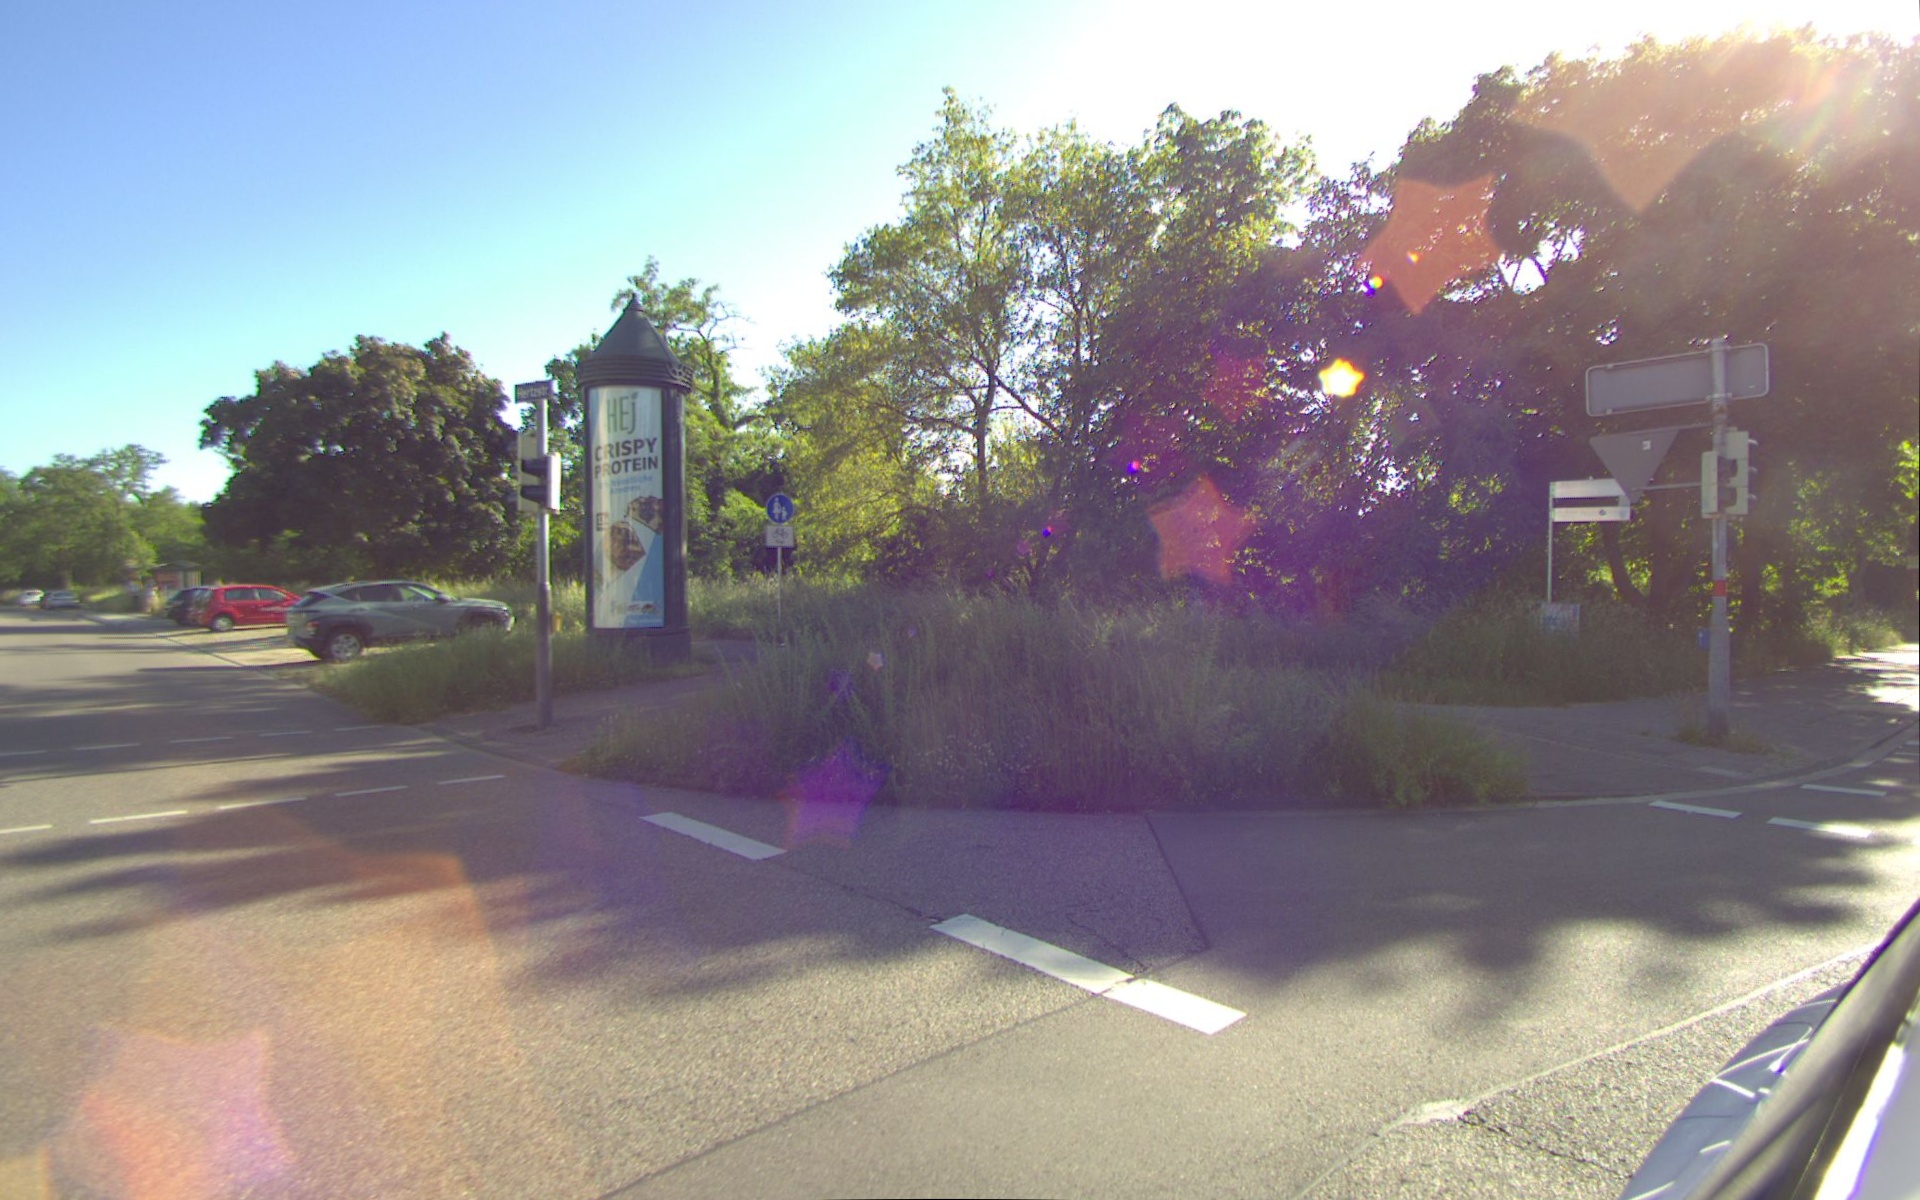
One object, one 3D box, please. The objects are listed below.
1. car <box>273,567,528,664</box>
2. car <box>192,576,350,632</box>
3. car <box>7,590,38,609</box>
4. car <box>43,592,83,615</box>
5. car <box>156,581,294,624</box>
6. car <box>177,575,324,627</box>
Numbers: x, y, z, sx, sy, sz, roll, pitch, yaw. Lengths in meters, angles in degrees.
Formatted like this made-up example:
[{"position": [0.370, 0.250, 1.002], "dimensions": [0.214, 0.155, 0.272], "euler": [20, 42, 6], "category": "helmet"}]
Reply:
[{"position": [-11.910, 0.267, 21.737], "dimensions": [4.378, 1.670, 1.864], "euler": [-6, 2, -44], "category": "car"}, {"position": [-23.523, 0.122, 34.633], "dimensions": [4.130, 1.550, 1.864], "euler": [-6, 3, -44], "category": "car"}, {"position": [-90.125, -0.018, 97.266], "dimensions": [4.180, 1.550, 1.842], "euler": [-2, 2, 43], "category": "car"}, {"position": [-69.514, 0.252, 78.428], "dimensions": [4.180, 1.550, 1.842], "euler": [-2, 2, 43], "category": "car"}, {"position": [-28.541, 0.077, 39.376], "dimensions": [4.127, 1.551, 1.864], "euler": [0, 0, -44], "category": "car"}, {"position": [-25.981, 0.025, 37.141], "dimensions": [4.130, 1.550, 1.864], "euler": [-6, 3, -44], "category": "car"}]
